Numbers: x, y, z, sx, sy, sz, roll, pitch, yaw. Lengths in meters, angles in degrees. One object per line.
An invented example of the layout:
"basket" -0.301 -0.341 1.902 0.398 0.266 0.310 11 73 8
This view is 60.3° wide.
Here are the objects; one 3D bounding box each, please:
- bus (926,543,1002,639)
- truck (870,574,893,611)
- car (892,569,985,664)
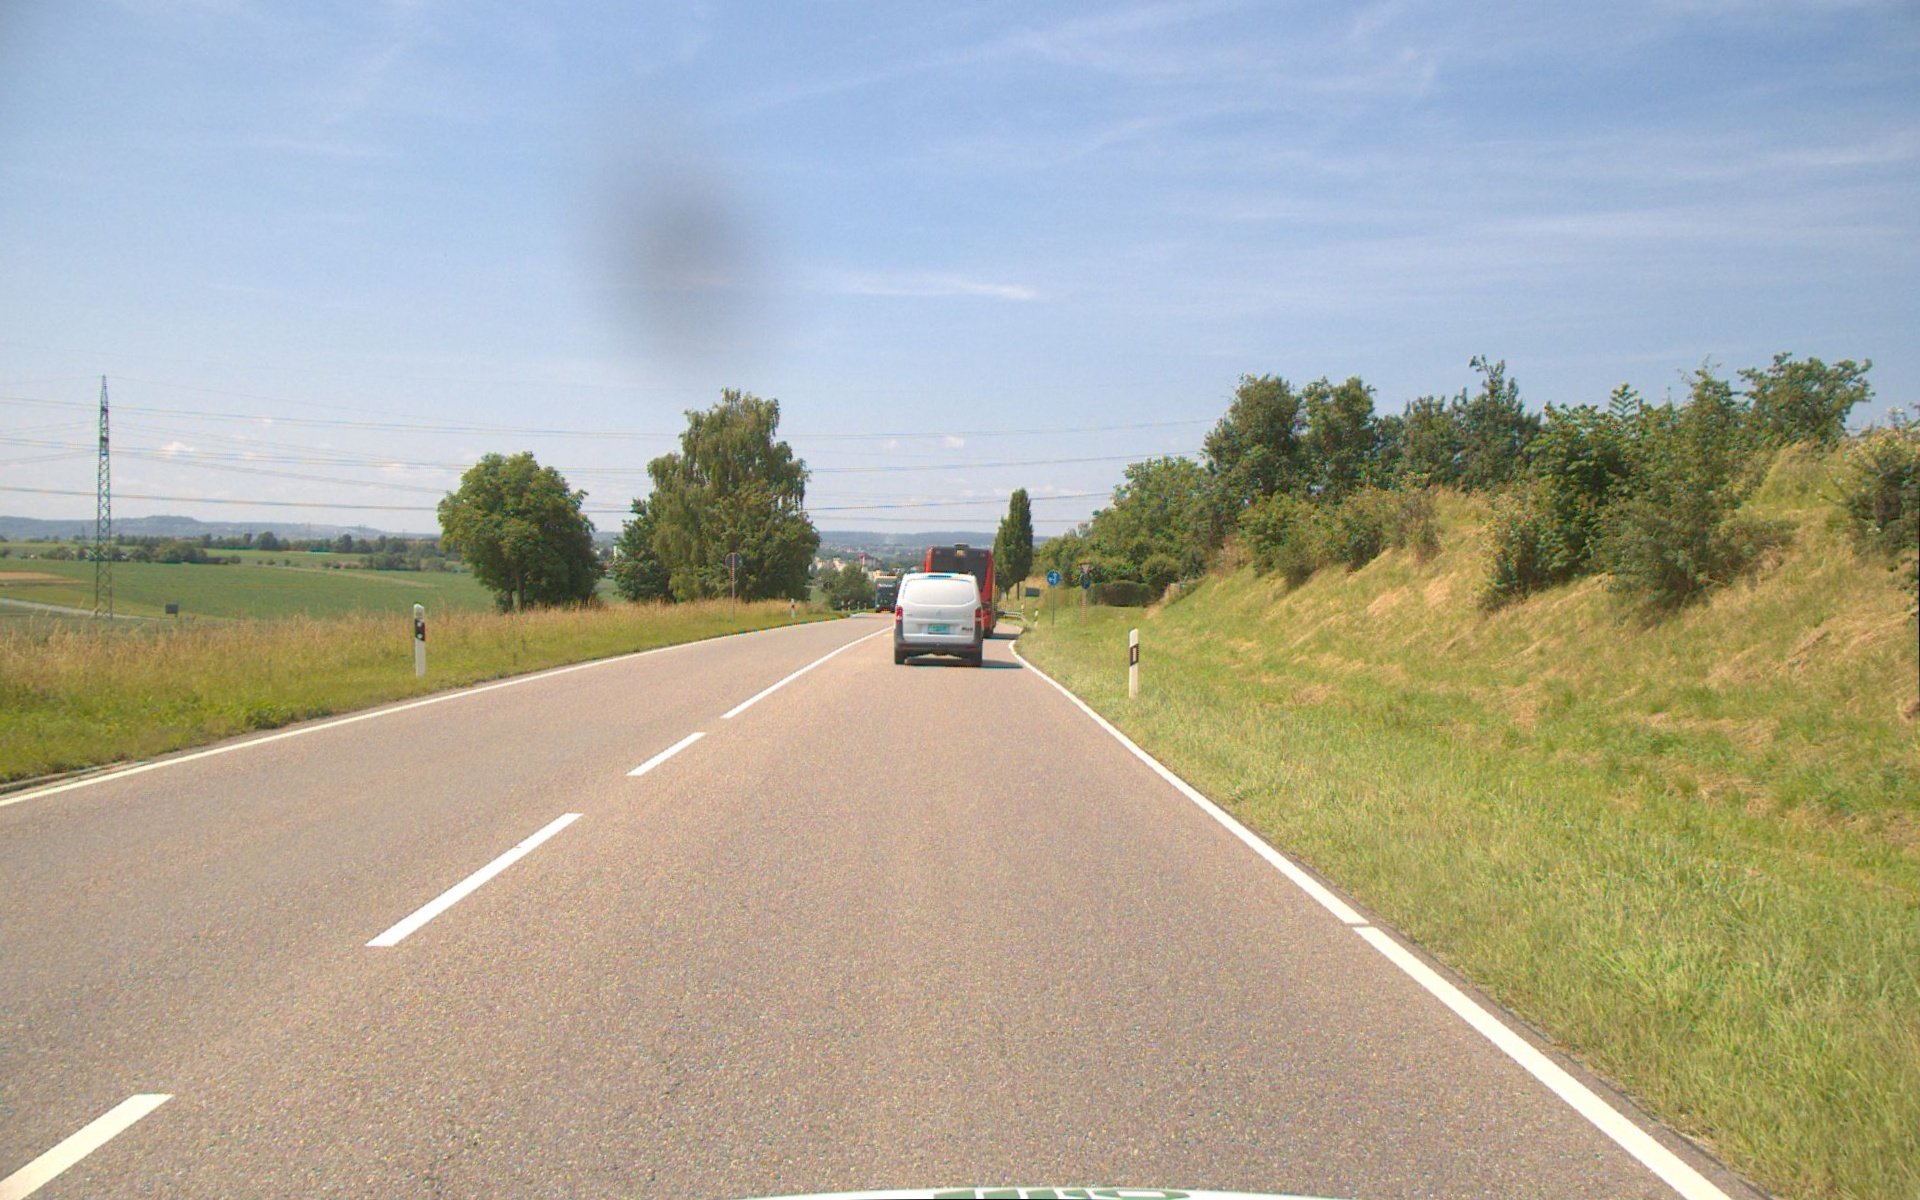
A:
"bus" 0.137 -0.530 66.105 2.691 3.411 13.223 -1 2 0
"truck" -9.138 -0.871 192.139 2.534 4.176 5.438 2 0 -3
"car" -0.447 0.326 35.491 1.884 1.922 4.000 0 0 0
